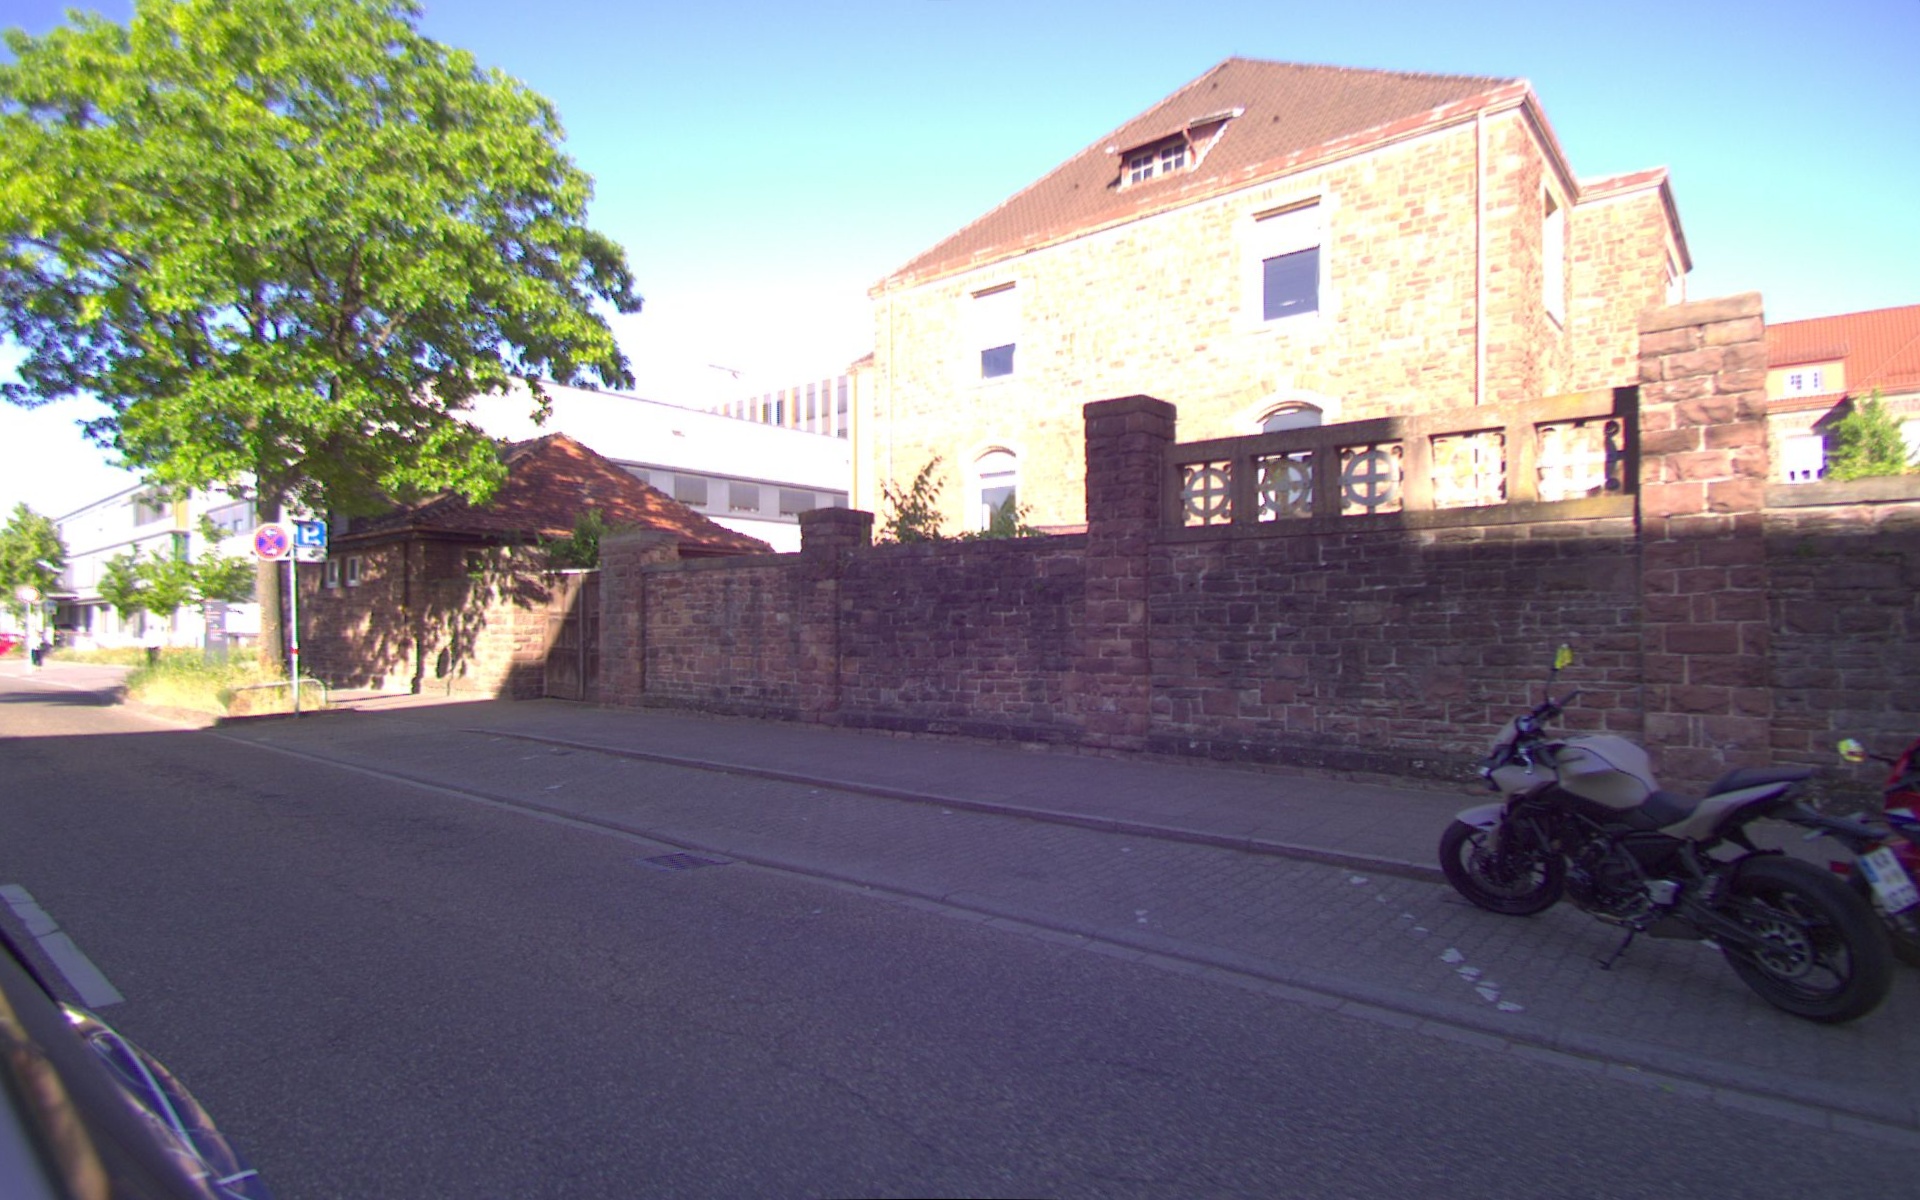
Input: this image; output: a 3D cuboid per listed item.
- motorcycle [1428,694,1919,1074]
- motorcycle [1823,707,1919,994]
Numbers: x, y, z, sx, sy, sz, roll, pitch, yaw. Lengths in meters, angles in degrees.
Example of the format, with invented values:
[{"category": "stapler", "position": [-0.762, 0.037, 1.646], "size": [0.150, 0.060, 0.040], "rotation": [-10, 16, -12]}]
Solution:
[{"category": "motorcycle", "position": [2.981, 1.003, 4.244], "size": [0.523, 1.047, 2.097], "rotation": [-1, -1, -18]}, {"category": "motorcycle", "position": [4.157, 0.967, 3.254], "size": [0.523, 1.047, 2.097], "rotation": [-1, -1, -18]}]
